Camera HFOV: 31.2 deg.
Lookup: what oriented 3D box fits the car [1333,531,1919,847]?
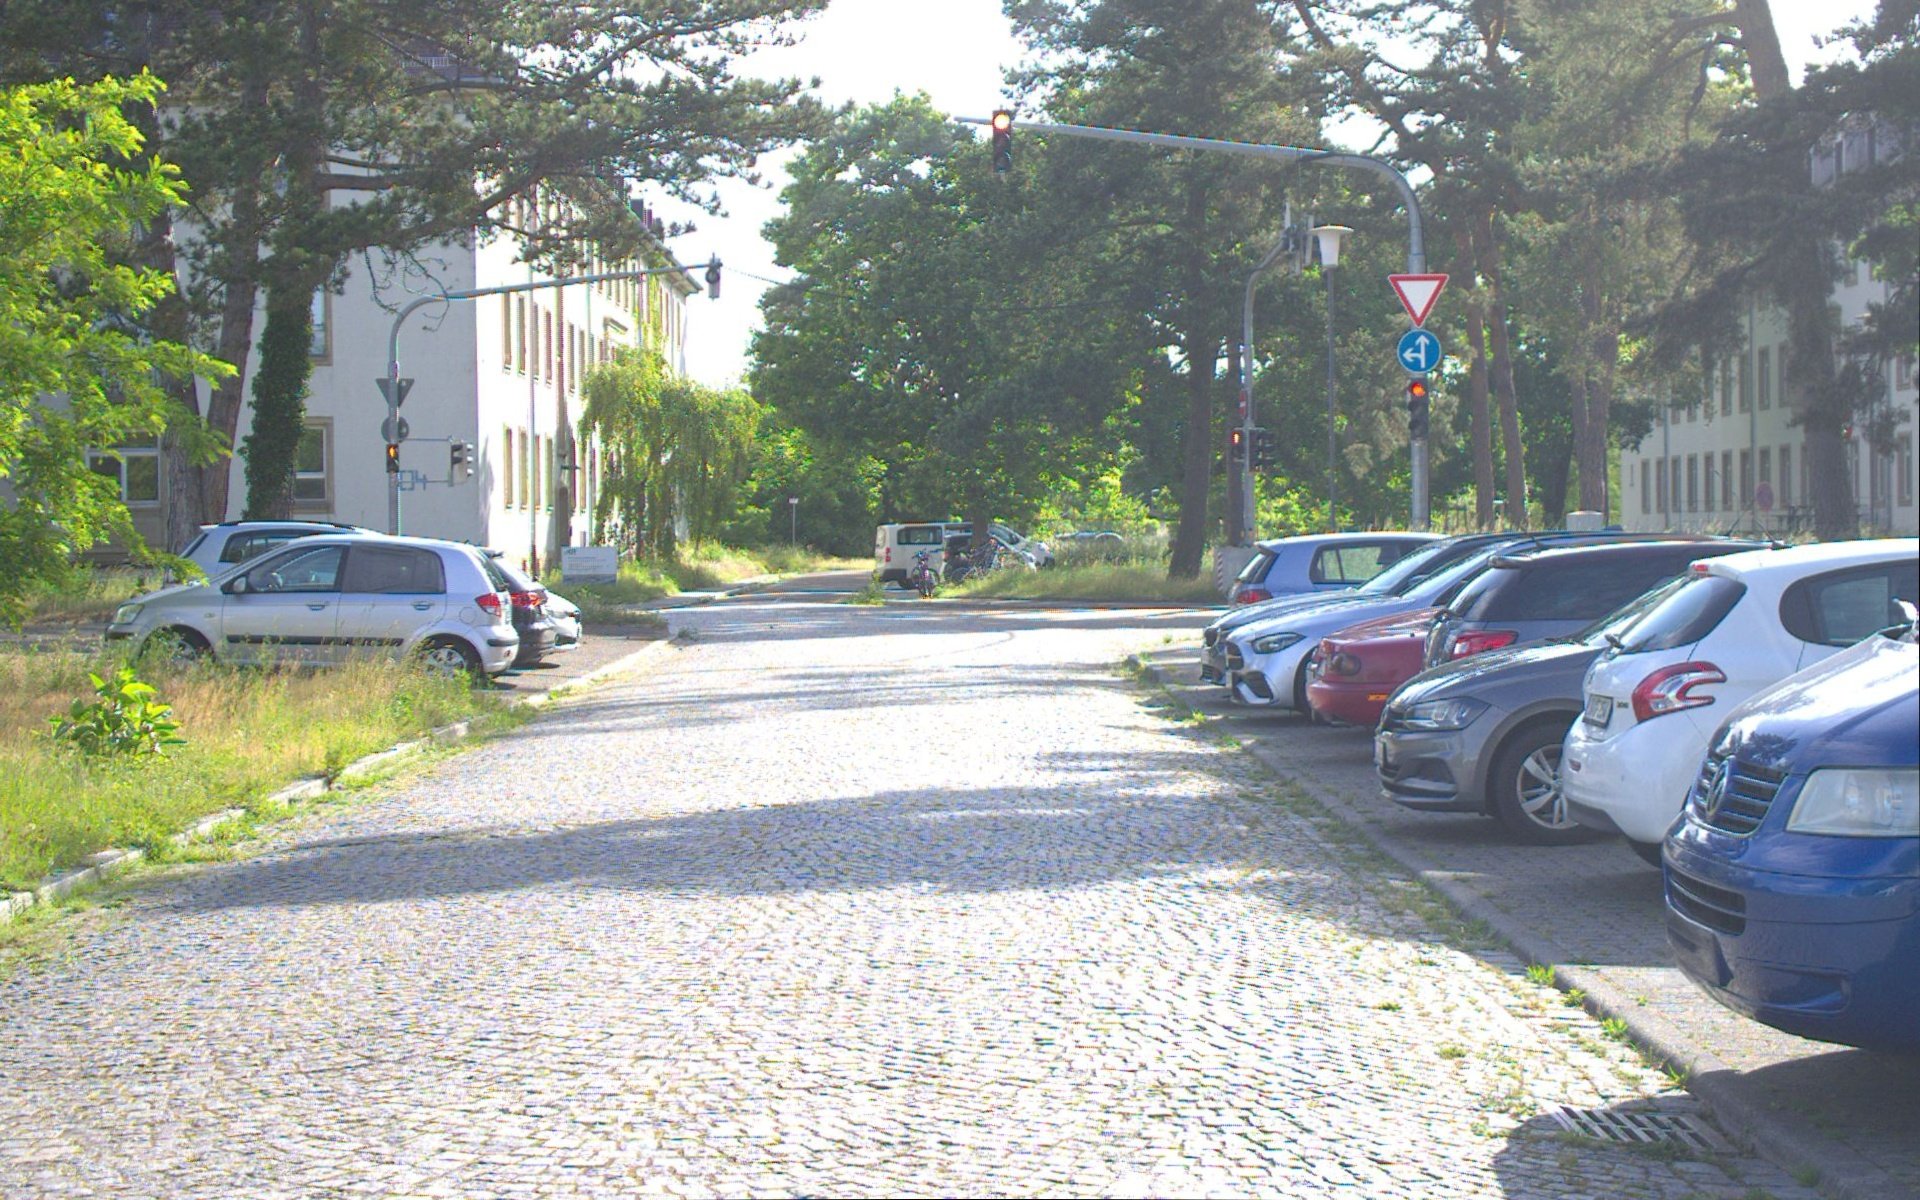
[{"bbox_3d":[3.878,0.412,17.671,3.675,1.462,1.646,-1,1,-1],"label":"car"}]

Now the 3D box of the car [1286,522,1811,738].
[{"bbox_3d":[4.330,0.195,25.638,3.602,1.524,1.646,-1,1,-1],"label":"car"}]

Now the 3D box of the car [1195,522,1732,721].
[{"bbox_3d":[4.020,0.148,27.819,4.033,1.524,1.646,-1,1,-4],"label":"car"}]

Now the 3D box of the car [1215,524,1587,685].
[{"bbox_3d":[4.218,0.023,33.230,3.343,1.477,1.646,-1,1,-1],"label":"car"}]

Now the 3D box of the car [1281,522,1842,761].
[{"bbox_3d":[4.009,0.251,23.281,3.478,1.524,1.646,-1,1,-1],"label":"car"}]

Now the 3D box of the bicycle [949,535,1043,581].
[{"bbox_3d":[0.877,-1.019,83.340,2.172,1.096,0.807,0,1,-10],"label":"bicycle"}]

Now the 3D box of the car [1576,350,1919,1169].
[{"bbox_3d":[4.278,0.346,9.582,4.676,2.007,2.084,-1,1,-3],"label":"car"}]

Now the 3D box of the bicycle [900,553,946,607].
[{"bbox_3d":[-0.854,-0.465,78.766,0.804,1.165,2.181,-2,1,-6],"label":"bicycle"}]

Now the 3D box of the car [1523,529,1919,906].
[{"bbox_3d":[4.424,0.426,14.783,3.694,1.460,1.645,-2,1,1],"label":"car"}]

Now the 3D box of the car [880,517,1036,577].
[{"bbox_3d":[-0.063,-1.546,99.684,4.480,1.722,2.000,0,1,-1],"label":"car"}]

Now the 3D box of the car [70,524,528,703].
[{"bbox_3d":[-6.169,0.099,32.454,3.986,1.595,2.000,-1,1,-3],"label":"car"}]

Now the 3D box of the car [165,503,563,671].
[{"bbox_3d":[-6.504,-0.164,37.840,3.987,1.596,2.000,3,1,-1],"label":"car"}]

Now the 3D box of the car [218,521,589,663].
[{"bbox_3d":[-6.457,-0.117,40.243,3.987,1.448,2.000,2,1,-1],"label":"car"}]

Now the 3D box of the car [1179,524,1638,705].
[{"bbox_3d":[3.941,0.108,30.591,3.835,1.524,1.646,-1,1,-1],"label":"car"}]

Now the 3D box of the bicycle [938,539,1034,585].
[{"bbox_3d":[0.613,-0.916,82.219,2.172,1.096,0.807,0,1,-10],"label":"bicycle"}]

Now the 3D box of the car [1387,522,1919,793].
[{"bbox_3d":[4.417,0.311,20.589,3.478,1.524,1.646,-1,1,-1],"label":"car"}]
